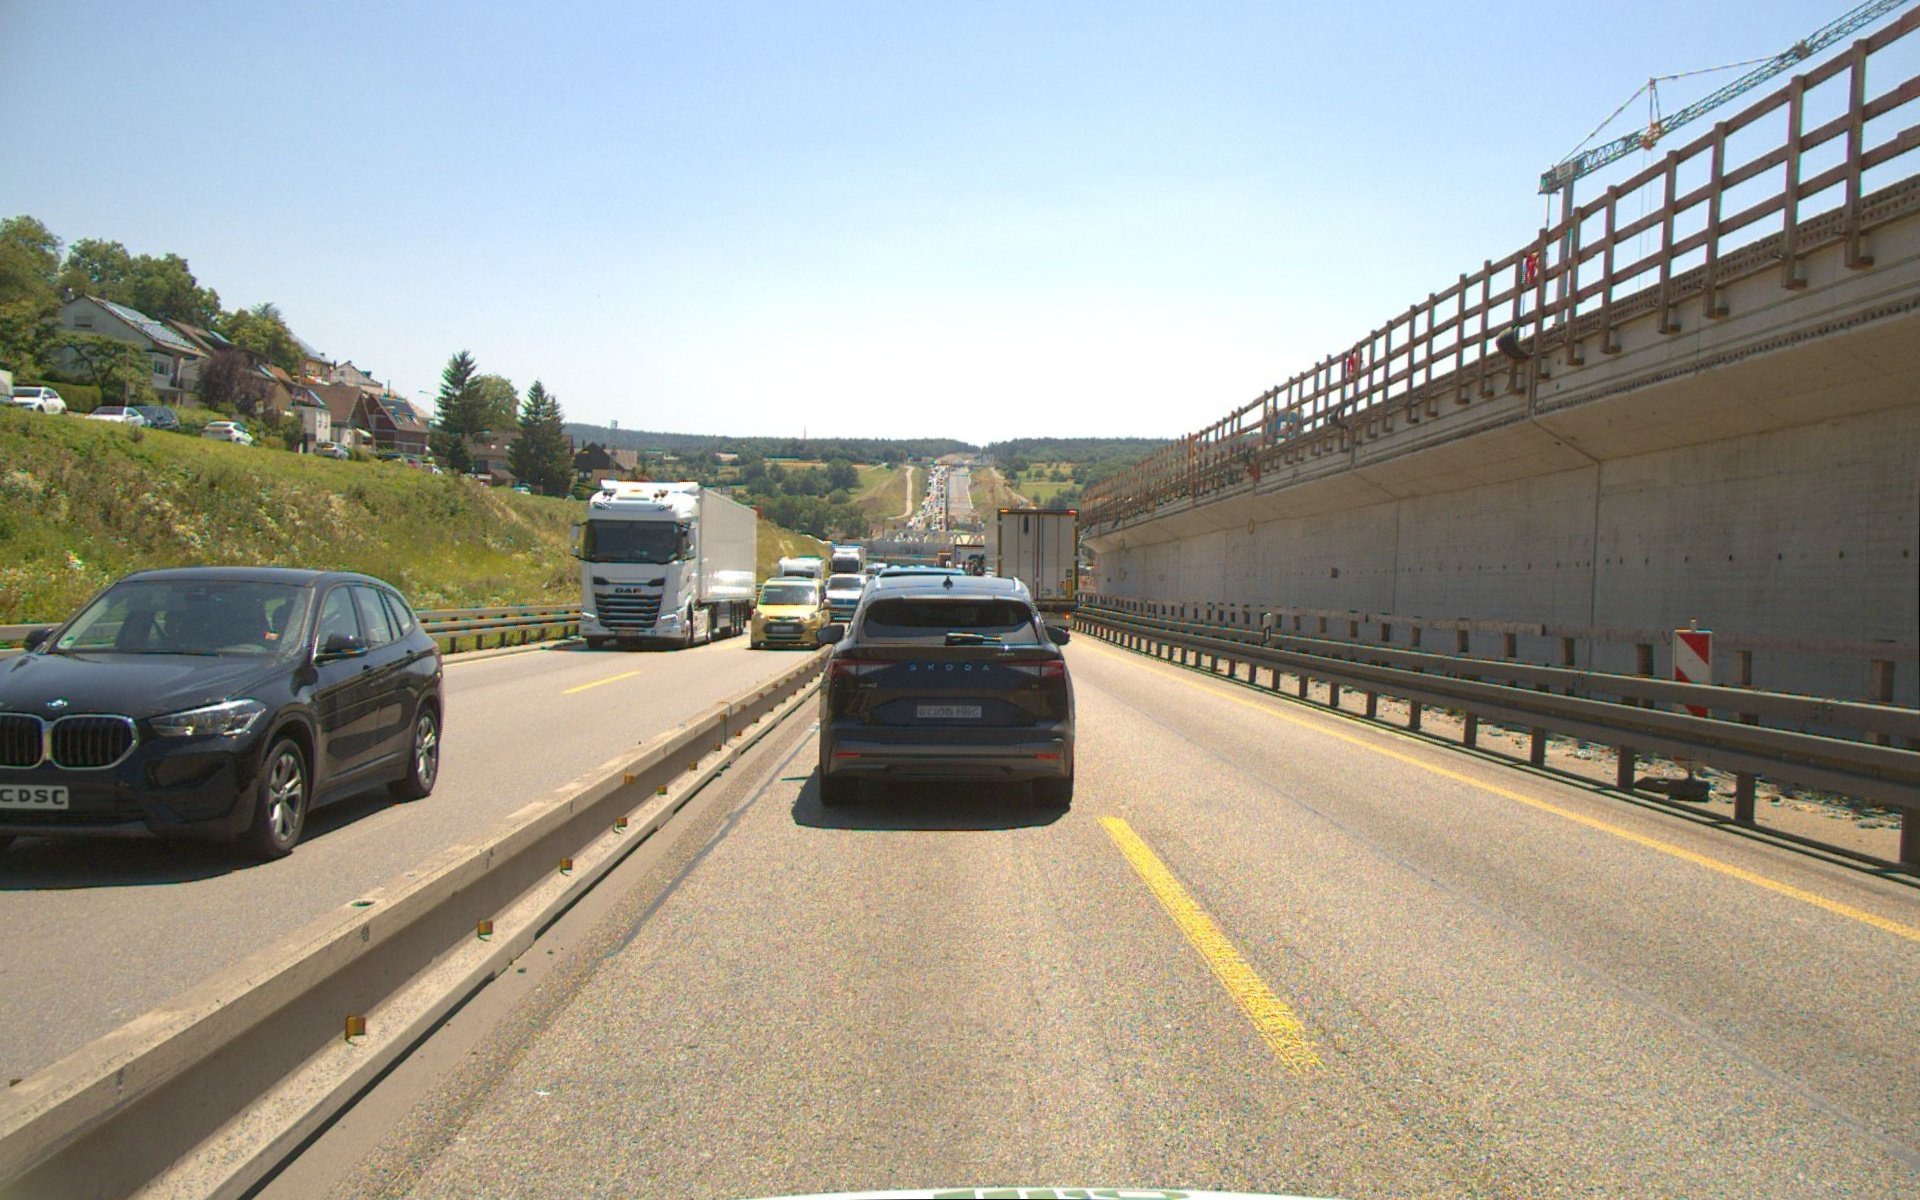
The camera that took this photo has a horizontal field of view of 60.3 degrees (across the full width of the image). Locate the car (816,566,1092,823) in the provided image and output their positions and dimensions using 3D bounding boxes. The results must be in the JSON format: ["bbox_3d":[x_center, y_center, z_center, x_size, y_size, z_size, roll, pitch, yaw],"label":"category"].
[{"bbox_3d":[-0.116,0.608,12.541,1.747,1.625,3.753,1,0,-3],"label":"car"}]

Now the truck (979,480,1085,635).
[{"bbox_3d":[2.308,-1.261,57.025,2.788,4.696,11.808,2,-1,-1],"label":"truck"}]

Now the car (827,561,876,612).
[{"bbox_3d":[-4.564,-0.537,70.030,1.825,2.049,4.803,1,-1,-2],"label":"car"}]

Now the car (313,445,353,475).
[{"bbox_3d":[-43.417,-9.688,114.615,1.891,1.758,3.989,1,0,-12],"label":"car"}]

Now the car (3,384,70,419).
[{"bbox_3d":[-37.841,-8.121,67.823,1.256,1.057,3.270,1,0,-7],"label":"car"}]

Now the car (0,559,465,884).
[{"bbox_3d":[-4.457,0.581,10.207,1.665,1.588,4.102,1,0,-2],"label":"car"}]

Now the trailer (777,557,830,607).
[{"bbox_3d":[-8.600,-0.935,91.361,2.434,2.659,5.866,0,-1,-1],"label":"trailer"}]

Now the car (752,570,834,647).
[{"bbox_3d":[-4.281,0.192,42.879,1.739,1.852,4.432,1,0,-2],"label":"car"}]

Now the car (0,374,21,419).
[{"bbox_3d":[-37.407,-7.880,63.317,1.700,1.422,3.783,3,0,-17],"label":"car"}]

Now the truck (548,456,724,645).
[{"bbox_3d":[-7.979,-1.131,41.660,3.115,4.312,6.484,1,-1,-1],"label":"truck"}]

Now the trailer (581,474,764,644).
[{"bbox_3d":[-8.046,-1.079,48.485,3.155,4.231,13.405,1,0,-1],"label":"trailer"}]

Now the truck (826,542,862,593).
[{"bbox_3d":[-10.271,-2.829,147.046,2.697,4.301,8.098,1,0,-1],"label":"truck"}]

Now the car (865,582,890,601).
[{"bbox_3d":[-6.268,-0.647,126.272,1.735,1.311,3.999,2,-1,-1],"label":"car"}]

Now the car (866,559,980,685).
[{"bbox_3d":[-0.706,0.351,28.685,1.715,1.928,3.752,4,0,-4],"label":"car"}]

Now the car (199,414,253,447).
[{"bbox_3d":[-42.042,-9.680,94.797,1.959,1.342,3.988,5,-1,-12],"label":"car"}]
